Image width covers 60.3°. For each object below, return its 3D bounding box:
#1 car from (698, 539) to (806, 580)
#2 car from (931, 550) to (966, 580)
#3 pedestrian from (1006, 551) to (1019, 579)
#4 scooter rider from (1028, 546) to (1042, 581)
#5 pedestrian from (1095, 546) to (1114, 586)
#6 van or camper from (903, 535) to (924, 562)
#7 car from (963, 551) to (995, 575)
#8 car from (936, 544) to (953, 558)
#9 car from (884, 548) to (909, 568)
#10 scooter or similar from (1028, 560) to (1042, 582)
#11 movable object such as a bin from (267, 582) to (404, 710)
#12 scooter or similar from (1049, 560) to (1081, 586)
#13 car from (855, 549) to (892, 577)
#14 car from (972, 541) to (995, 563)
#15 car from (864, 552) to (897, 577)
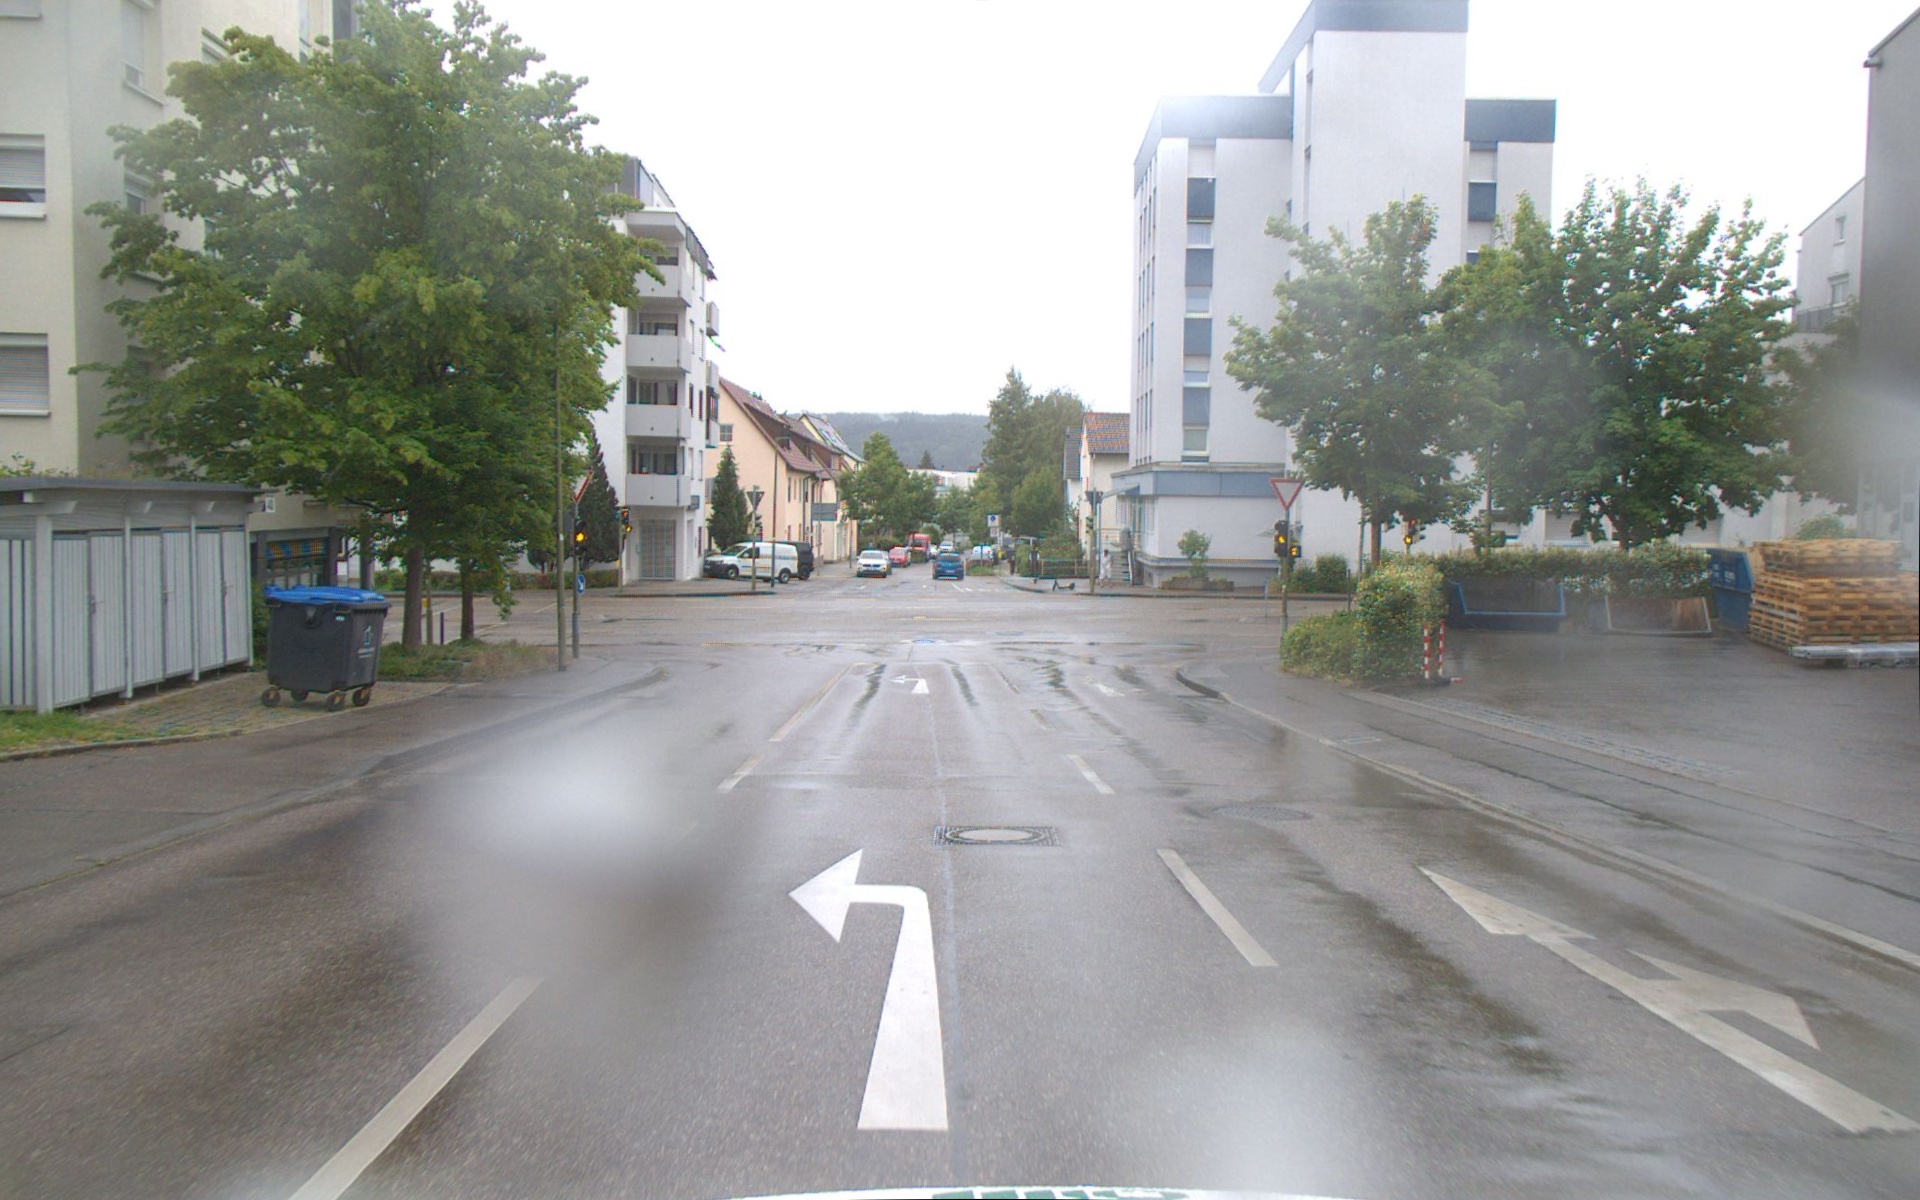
[{"bbox_3d":[-9.883,-1.957,78.718,4.797,1.867,1.972,-2,2,-39],"label":"car"},{"bbox_3d":[-0.692,-2.103,97.577,1.953,1.713,3.999,-1,2,-2],"label":"car"},{"bbox_3d":[3.566,-2.360,112.662,0.731,1.880,0.525,3,1,-7],"label":"pedestrian"},{"bbox_3d":[4.036,-1.969,88.941,0.737,1.827,0.673,-1,1,-1],"label":"scooter rider"},{"bbox_3d":[6.223,-1.458,71.027,0.635,1.676,0.525,3,1,-7],"label":"pedestrian"},{"bbox_3d":[-4.398,-4.888,157.723,1.862,2.557,4.239,-1,2,0],"label":"van or camper"},{"bbox_3d":[1.277,-2.551,112.972,2.102,1.616,4.128,-1,2,0],"label":"car"},{"bbox_3d":[-1.703,-5.495,185.809,1.862,1.586,4.192,-1,2,0],"label":"car"},{"bbox_3d":[-5.172,-3.414,135.536,1.862,1.586,4.192,-1,2,0],"label":"car"},{"bbox_3d":[4.037,-1.570,89.071,0.741,1.192,1.315,-1,2,1],"label":"scooter or similar"},{"bbox_3d":[-7.064,0.499,18.772,1.050,1.371,1.318,2,0,-3],"label":"movable object such as a bin"},{"bbox_3d":[4.431,-1.139,69.882,1.243,1.100,0.876,-1,1,-5],"label":"scooter or similar"},{"bbox_3d":[-5.140,-2.223,99.083,1.953,1.654,4.192,-1,2,0],"label":"car"},{"bbox_3d":[1.909,-3.908,134.901,1.862,1.775,4.192,-1,2,0],"label":"car"},{"bbox_3d":[-5.312,-2.399,110.485,1.953,1.654,4.192,-1,2,0],"label":"car"}]
